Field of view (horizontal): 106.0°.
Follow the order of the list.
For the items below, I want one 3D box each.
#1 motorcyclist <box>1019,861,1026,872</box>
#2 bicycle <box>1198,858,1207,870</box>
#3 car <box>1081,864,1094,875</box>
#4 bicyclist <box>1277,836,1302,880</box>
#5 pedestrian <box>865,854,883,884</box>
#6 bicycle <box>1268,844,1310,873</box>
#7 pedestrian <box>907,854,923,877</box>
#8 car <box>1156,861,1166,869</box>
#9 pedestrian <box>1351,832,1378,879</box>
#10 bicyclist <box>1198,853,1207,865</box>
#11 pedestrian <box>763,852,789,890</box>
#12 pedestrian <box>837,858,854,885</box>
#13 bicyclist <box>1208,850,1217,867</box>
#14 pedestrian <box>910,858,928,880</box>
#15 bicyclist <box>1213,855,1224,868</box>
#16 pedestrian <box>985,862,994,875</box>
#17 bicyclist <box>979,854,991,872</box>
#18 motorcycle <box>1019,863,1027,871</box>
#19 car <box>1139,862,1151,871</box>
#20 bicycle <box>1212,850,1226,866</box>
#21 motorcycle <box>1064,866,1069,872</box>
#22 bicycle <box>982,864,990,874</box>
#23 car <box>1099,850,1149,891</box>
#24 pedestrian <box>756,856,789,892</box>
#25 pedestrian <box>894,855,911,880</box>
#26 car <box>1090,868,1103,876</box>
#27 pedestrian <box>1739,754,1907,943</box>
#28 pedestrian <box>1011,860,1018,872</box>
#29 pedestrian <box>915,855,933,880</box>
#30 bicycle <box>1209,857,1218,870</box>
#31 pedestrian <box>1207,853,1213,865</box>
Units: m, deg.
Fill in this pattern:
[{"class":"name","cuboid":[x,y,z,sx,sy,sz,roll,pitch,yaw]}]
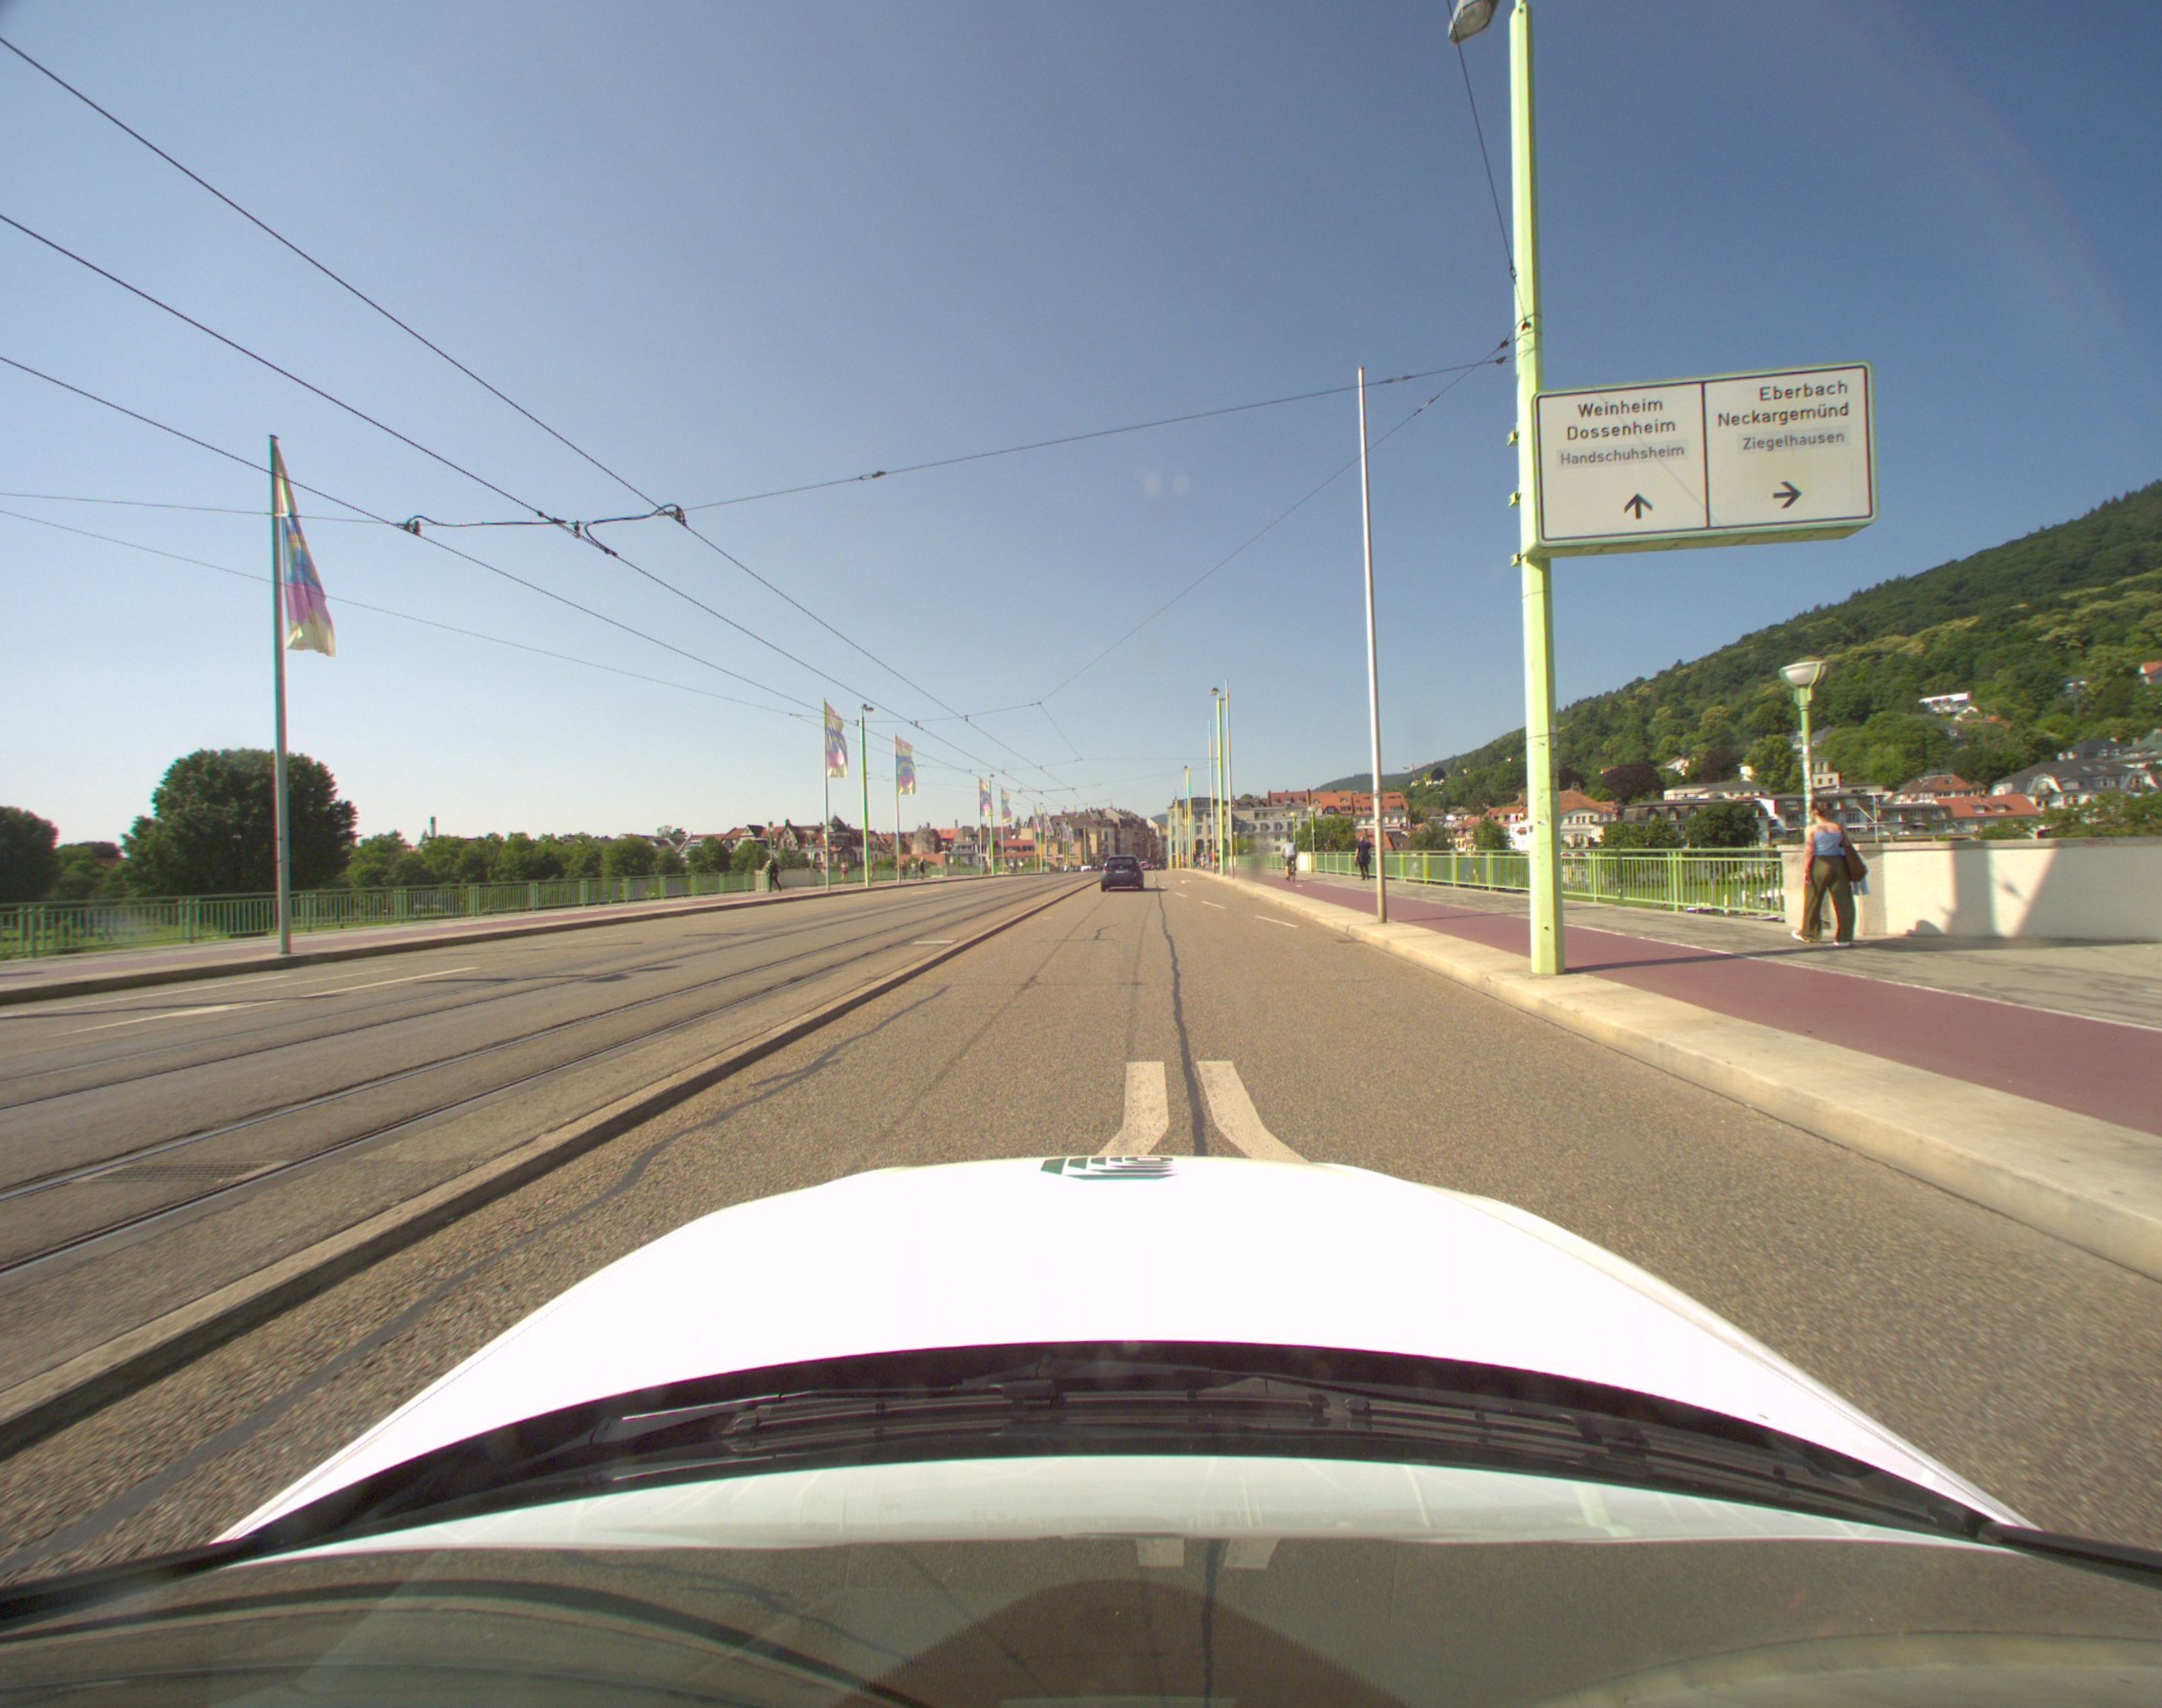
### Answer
[{"class":"motorcyclist","cuboid":[-8.199,1.801,115.051,0.797,1.549,1.070,-2,-1,4]},{"class":"bicycle","cuboid":[11.154,0.919,74.589,0.616,1.037,2.052,-2,-1,3]},{"class":"car","cuboid":[1.090,2.658,140.646,1.989,1.409,4.543,-5,1,-3]},{"class":"bicyclist","cuboid":[8.508,0.164,33.255,0.671,1.744,1.150,-2,0,0]},{"class":"pedestrian","cuboid":[-14.345,1.005,56.453,0.966,2.013,1.101,-2,0,-1]},{"class":"bicycle","cuboid":[8.513,0.170,33.560,0.789,1.096,3.744,-2,0,1]},{"class":"pedestrian","cuboid":[-14.662,1.023,71.866,1.093,2.013,1.130,-2,0,2]},{"class":"car","cuboid":[15.903,2.230,161.030,1.794,1.469,4.008,-3,-1,7]},{"class":"pedestrian","cuboid":[10.793,0.049,31.008,0.652,1.743,0.978,-2,1,-1]},{"class":"bicyclist","cuboid":[11.141,0.482,74.585,0.732,1.030,1.176,-2,-1,3]},{"class":"pedestrian","cuboid":[-16.587,0.909,44.325,0.895,2.013,1.042,-2,0,2]},{"class":"pedestrian","cuboid":[-15.793,1.167,54.610,0.751,1.722,1.176,-1,-1,2]},{"class":"bicyclist","cuboid":[13.151,0.457,81.677,0.732,1.635,0.867,-2,-1,3]},{"class":"pedestrian","cuboid":[-13.387,1.225,67.294,1.093,1.729,1.296,-2,0,2]},{"class":"bicyclist","cuboid":[11.231,0.579,66.639,0.665,1.045,0.979,-2,-1,-2]},{"class":"pedestrian","cuboid":[-11.813,1.818,105.049,0.894,1.658,1.030,-1,-1,7]},{"class":"bicyclist","cuboid":[-10.707,0.999,91.221,1.093,1.961,1.130,-2,0,2]},{"class":"motorcycle","cuboid":[-8.199,1.816,115.038,0.698,1.110,2.181,-2,-1,4]},{"class":"car","cuboid":[11.496,2.213,146.568,1.797,1.469,4.002,-3,-1,2]},{"class":"bicycle","cuboid":[11.237,0.322,66.354,0.693,1.193,2.078,-2,-1,0]},{"class":"motorcycle","cuboid":[-2.590,2.608,142.691,0.698,1.110,2.181,-2,-1,4]},{"class":"bicycle","cuboid":[-10.610,1.677,91.019,0.586,1.096,2.114,-2,0,2]},{"class":"car","cuboid":[1.794,0.656,34.227,1.902,1.540,4.002,-3,0,2]},{"class":"pedestrian","cuboid":[-15.876,1.021,41.925,1.093,1.758,1.296,-2,0,2]},{"class":"pedestrian","cuboid":[-14.766,1.120,67.510,1.093,2.013,1.130,-2,0,2]},{"class":"car","cuboid":[3.369,3.976,179.391,1.980,1.599,4.352,-2,-1,12]},{"class":"pedestrian","cuboid":[8.420,-0.055,9.299,0.871,2.014,1.059,-2,-1,-1]},{"class":"pedestrian","cuboid":[-10.104,1.832,123.696,0.826,1.722,1.095,-2,-1,5]},{"class":"pedestrian","cuboid":[-13.040,1.097,67.600,1.093,2.013,1.296,-2,0,2]},{"class":"bicycle","cuboid":[13.221,0.934,81.530,0.616,1.271,2.218,-2,-1,3]},{"class":"pedestrian","cuboid":[16.993,0.611,107.436,0.596,1.586,0.867,-2,-1,3]}]
